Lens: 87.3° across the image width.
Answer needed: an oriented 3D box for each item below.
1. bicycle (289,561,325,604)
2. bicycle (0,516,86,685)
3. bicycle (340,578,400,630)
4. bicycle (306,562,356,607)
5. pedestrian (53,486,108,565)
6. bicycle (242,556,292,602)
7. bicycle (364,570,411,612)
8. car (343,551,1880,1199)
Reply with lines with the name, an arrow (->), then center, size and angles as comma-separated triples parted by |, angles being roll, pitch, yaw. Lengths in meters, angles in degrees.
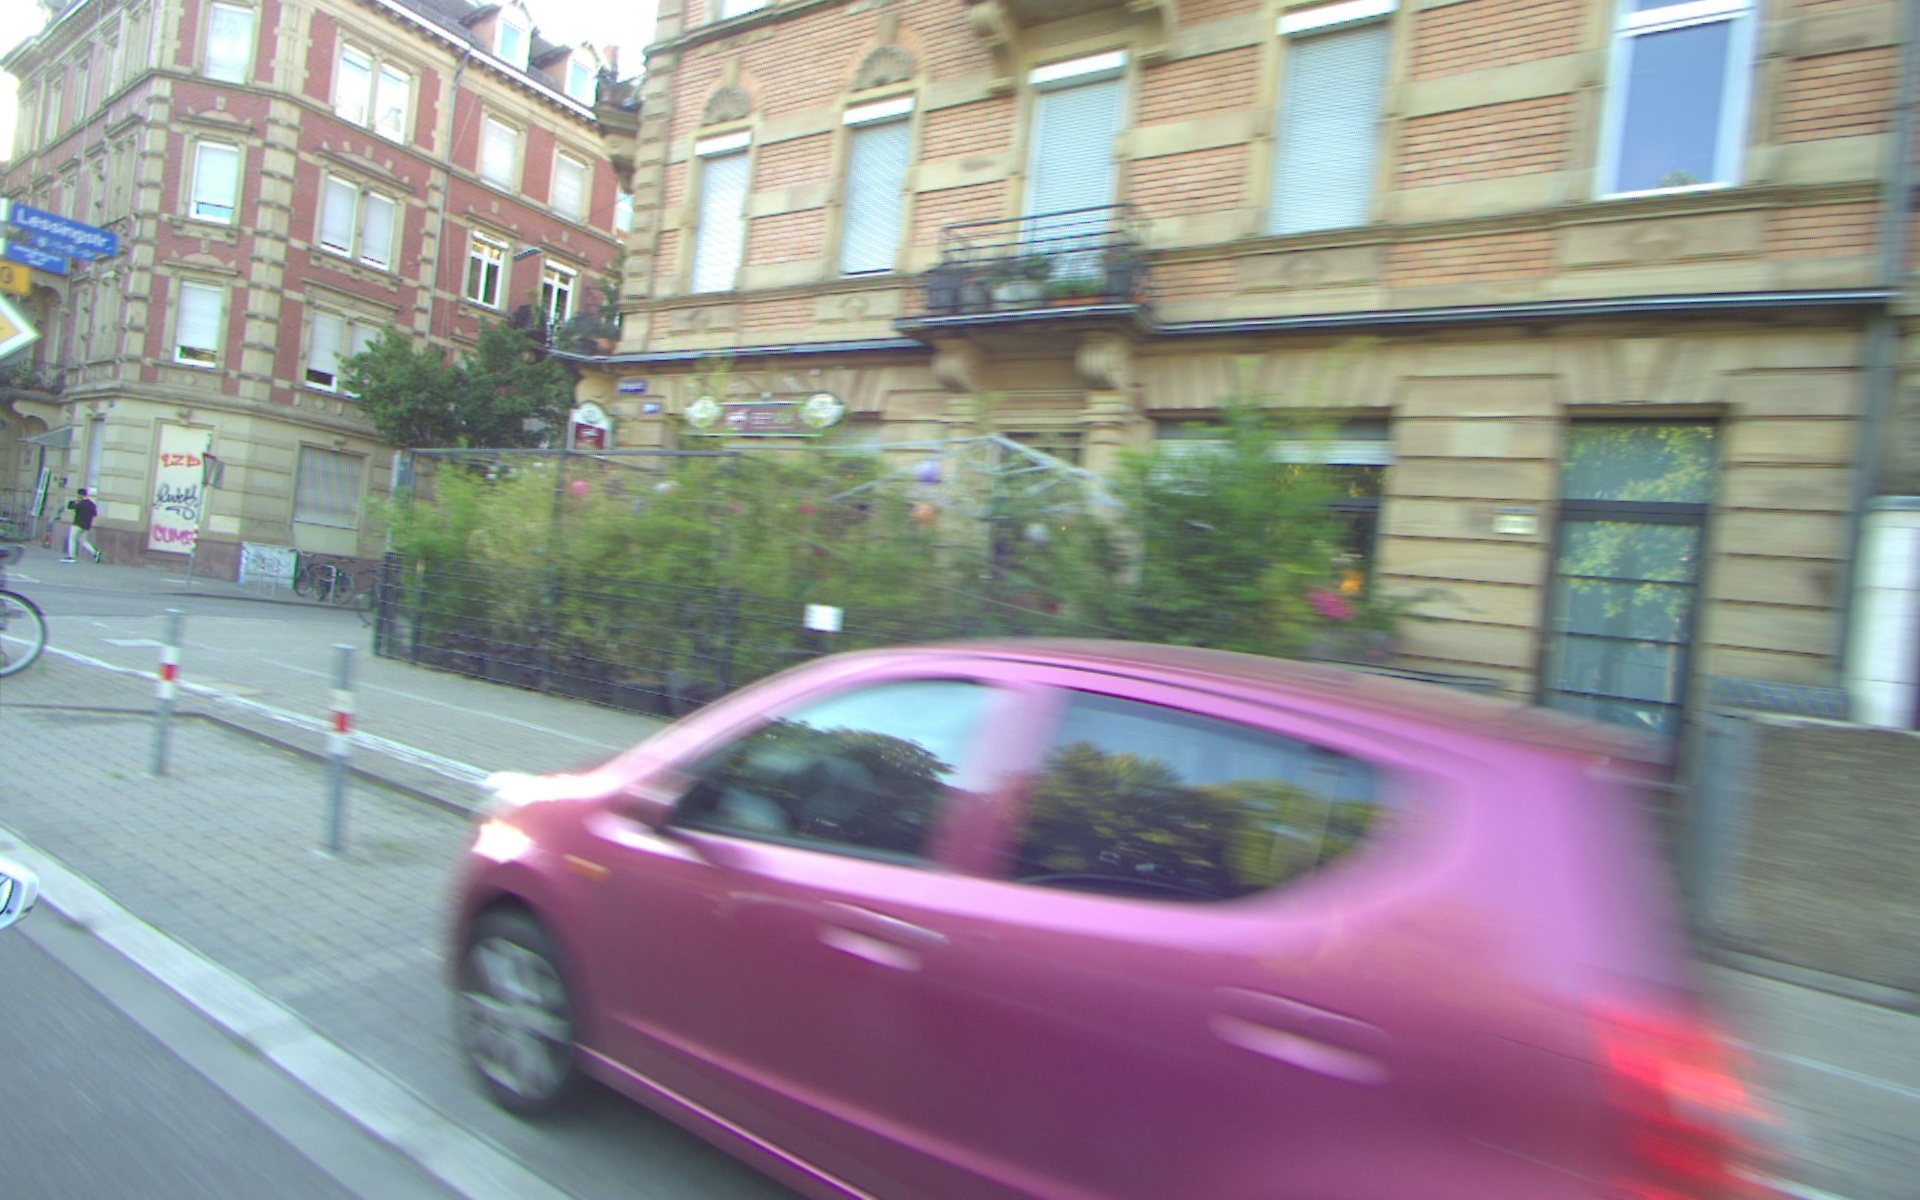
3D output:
bicycle -> -15.429, -0.417, 23.761 | 1.477, 0.826, 0.294 | 10, 0, 44
bicycle -> -8.173, -0.066, 8.476 | 2.227, 1.292, 0.565 | 5, 3, 31
bicycle -> -10.455, 0.063, 17.804 | 1.711, 0.826, 0.294 | 3, -4, 41
bicycle -> -15.058, -0.374, 24.071 | 1.472, 0.826, 0.295 | 10, 0, 32
pedestrian -> -21.289, -1.796, 24.361 | 0.818, 1.803, 0.745 | 7, 3, 32
bicycle -> -15.907, -0.489, 23.085 | 1.472, 0.826, 0.292 | 10, 0, 32
bicycle -> -14.550, -0.227, 25.556 | 1.472, 0.826, 0.295 | 10, 0, 32
car -> 0.036, 0.777, 2.917 | 3.489, 1.485, 1.726 | 7, 2, 33
